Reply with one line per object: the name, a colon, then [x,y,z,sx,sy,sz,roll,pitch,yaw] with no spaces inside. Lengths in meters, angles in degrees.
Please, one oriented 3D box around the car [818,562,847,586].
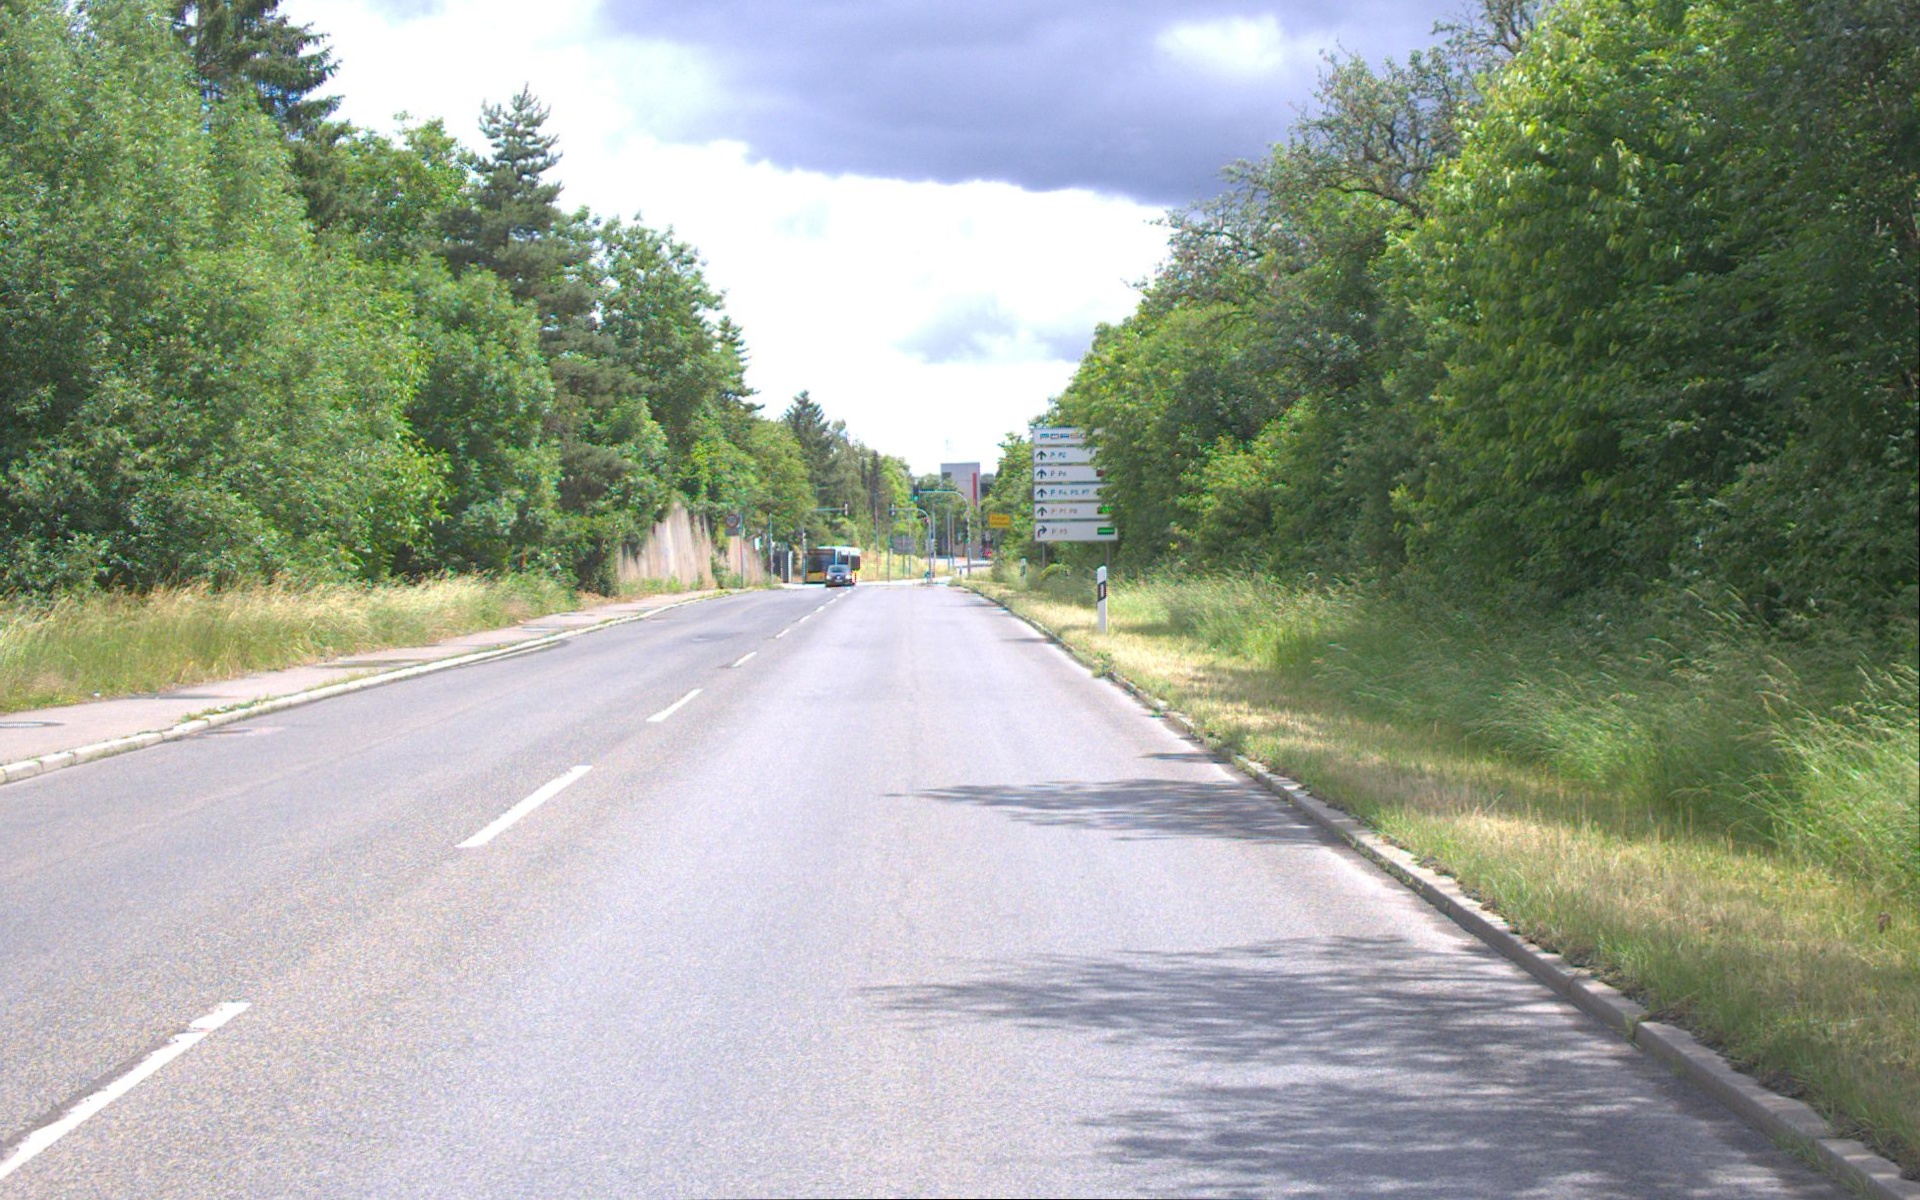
car: [-8.145,-1.668,219.841,1.751,1.459,4.000,-2,1,-1]
